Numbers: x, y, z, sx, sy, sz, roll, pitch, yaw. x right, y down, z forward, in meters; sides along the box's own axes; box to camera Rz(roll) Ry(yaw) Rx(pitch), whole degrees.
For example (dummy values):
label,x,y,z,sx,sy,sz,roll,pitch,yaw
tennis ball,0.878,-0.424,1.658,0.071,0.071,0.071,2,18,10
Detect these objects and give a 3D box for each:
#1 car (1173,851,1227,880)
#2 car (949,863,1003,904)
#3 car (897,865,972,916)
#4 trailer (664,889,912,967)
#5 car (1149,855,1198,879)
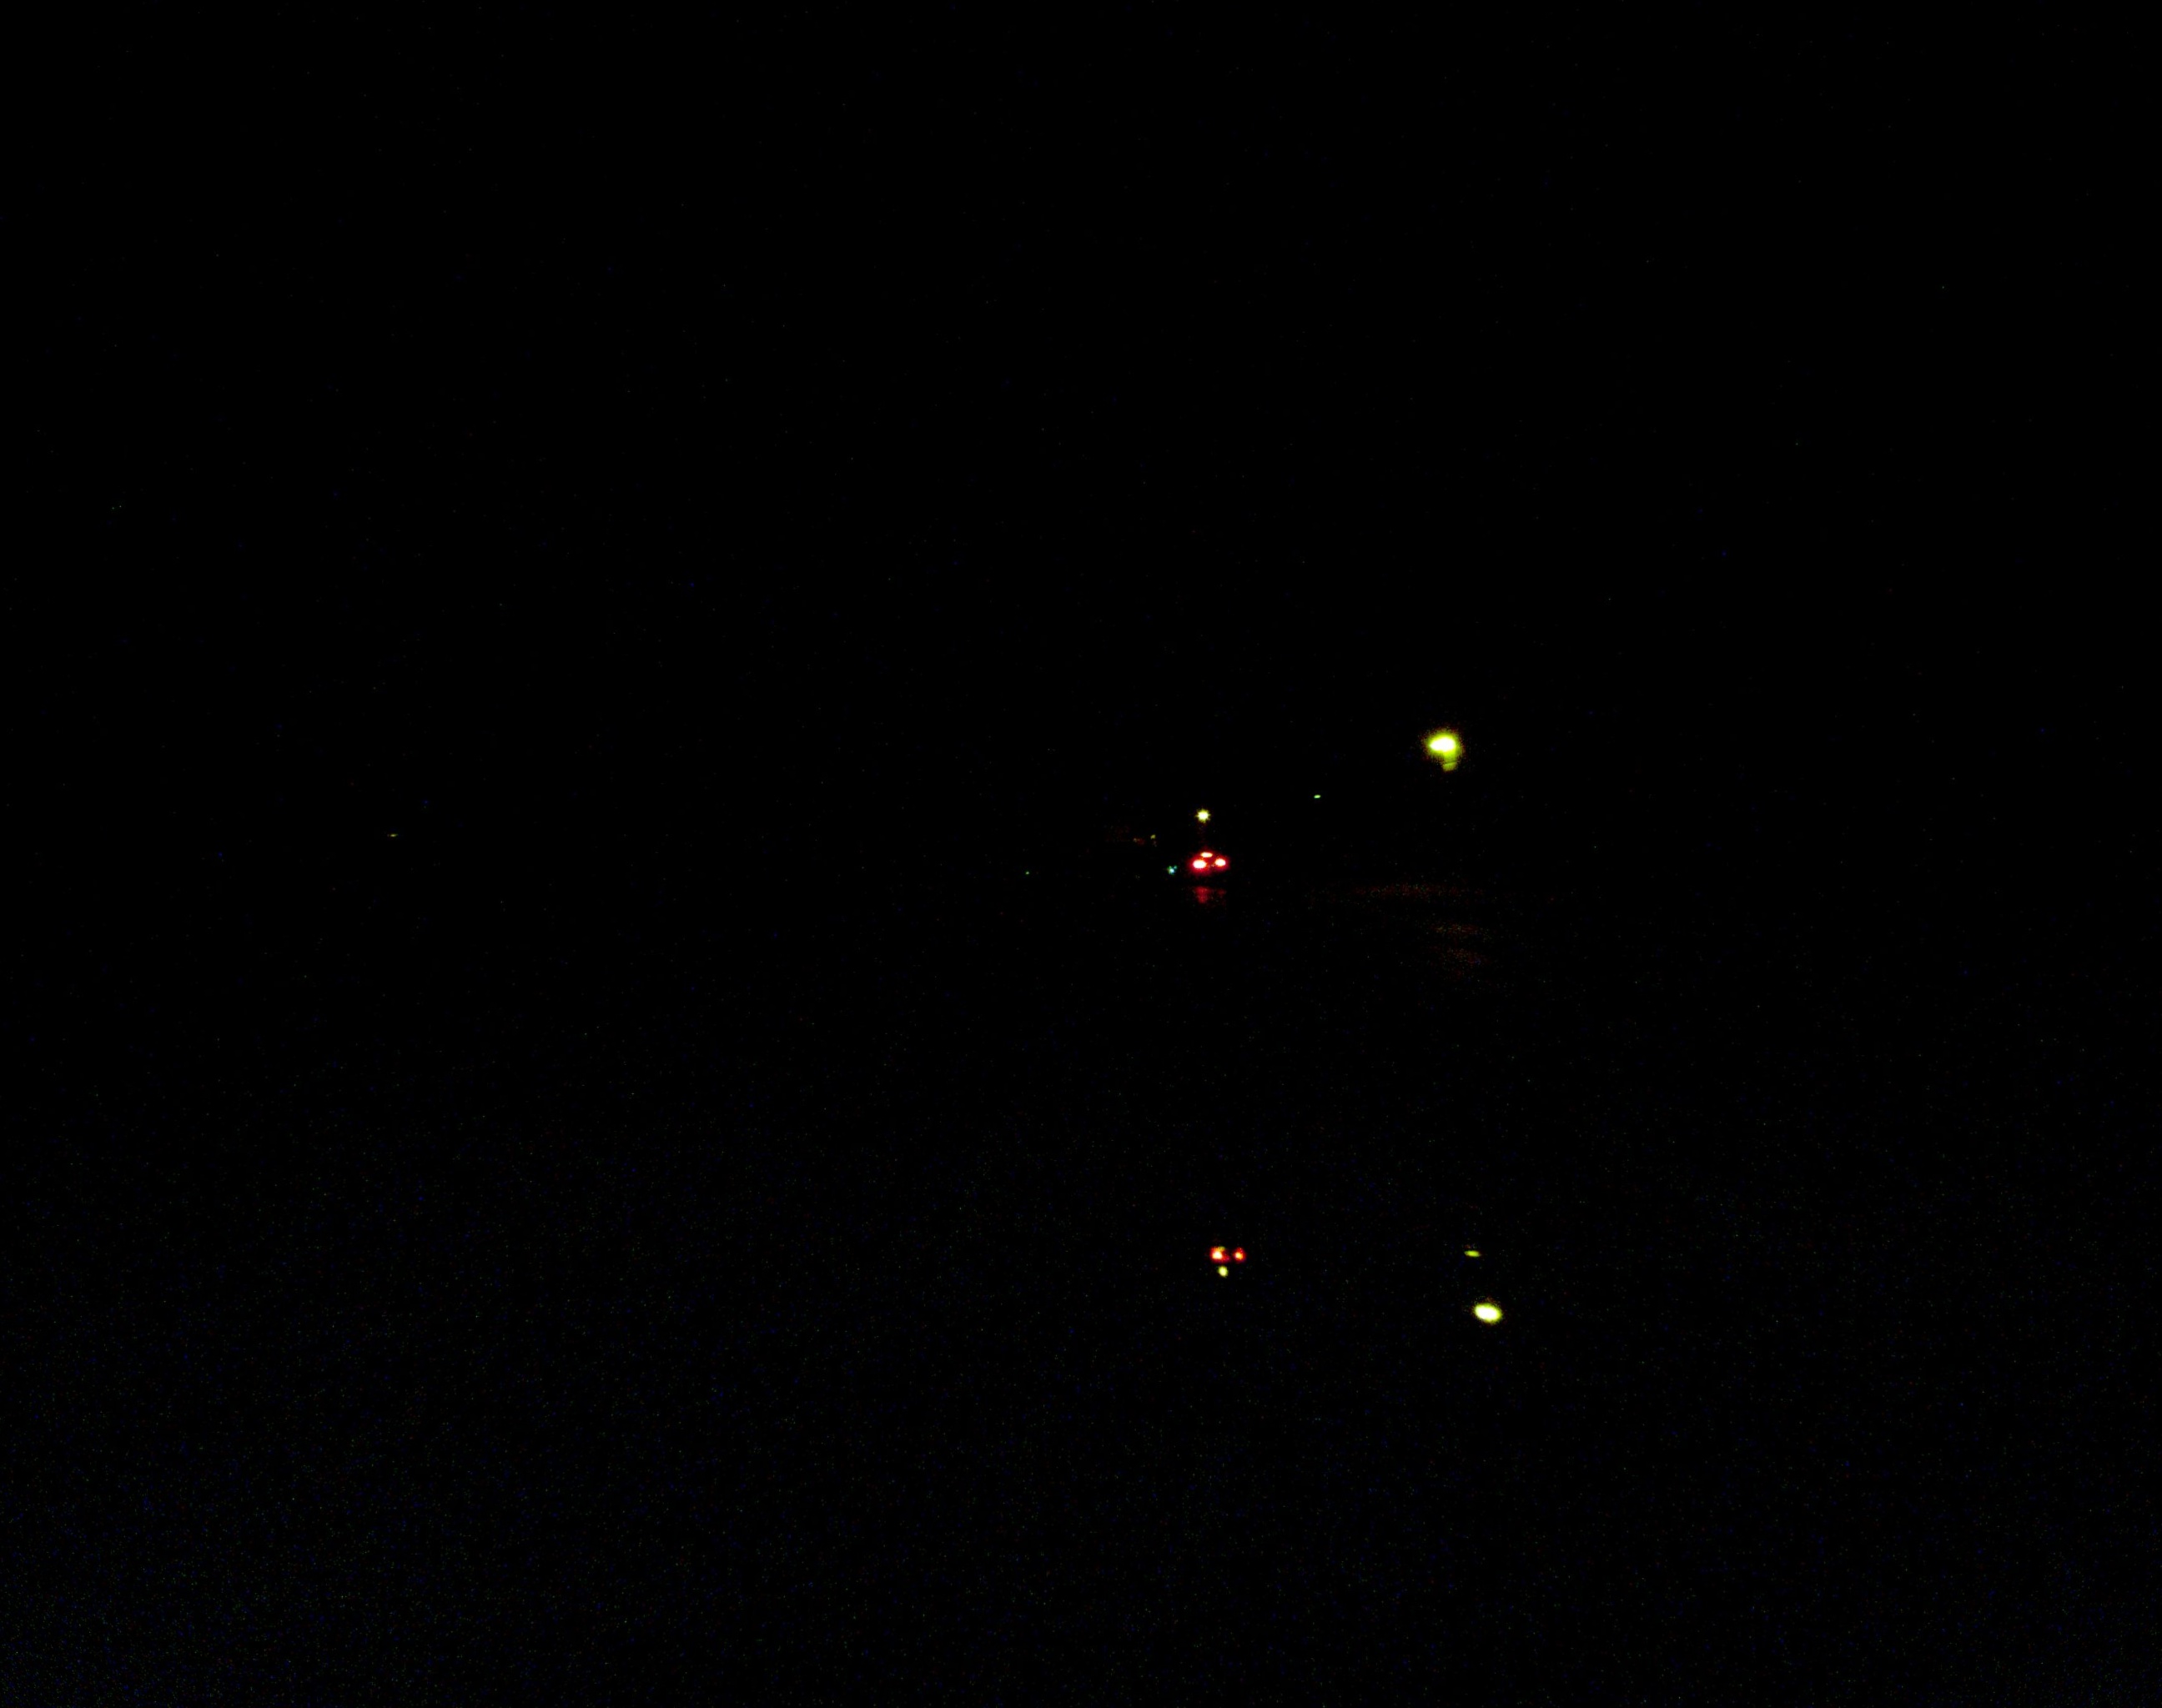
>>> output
label,x,y,z,sx,sy,sz,roll,pitch,yaw
car,6.756,0.673,43.621,1.854,1.436,4.914,-4,0,-5
car,-4.612,1.275,33.939,1.999,1.542,4.325,-4,-1,-4
car,-5.104,1.232,27.050,1.940,1.543,3.999,-4,0,-2
trailer,-6.637,1.628,19.235,2.179,0.961,9.618,-5,-1,2
car,6.032,0.837,49.999,2.000,1.371,4.595,-4,0,-9
